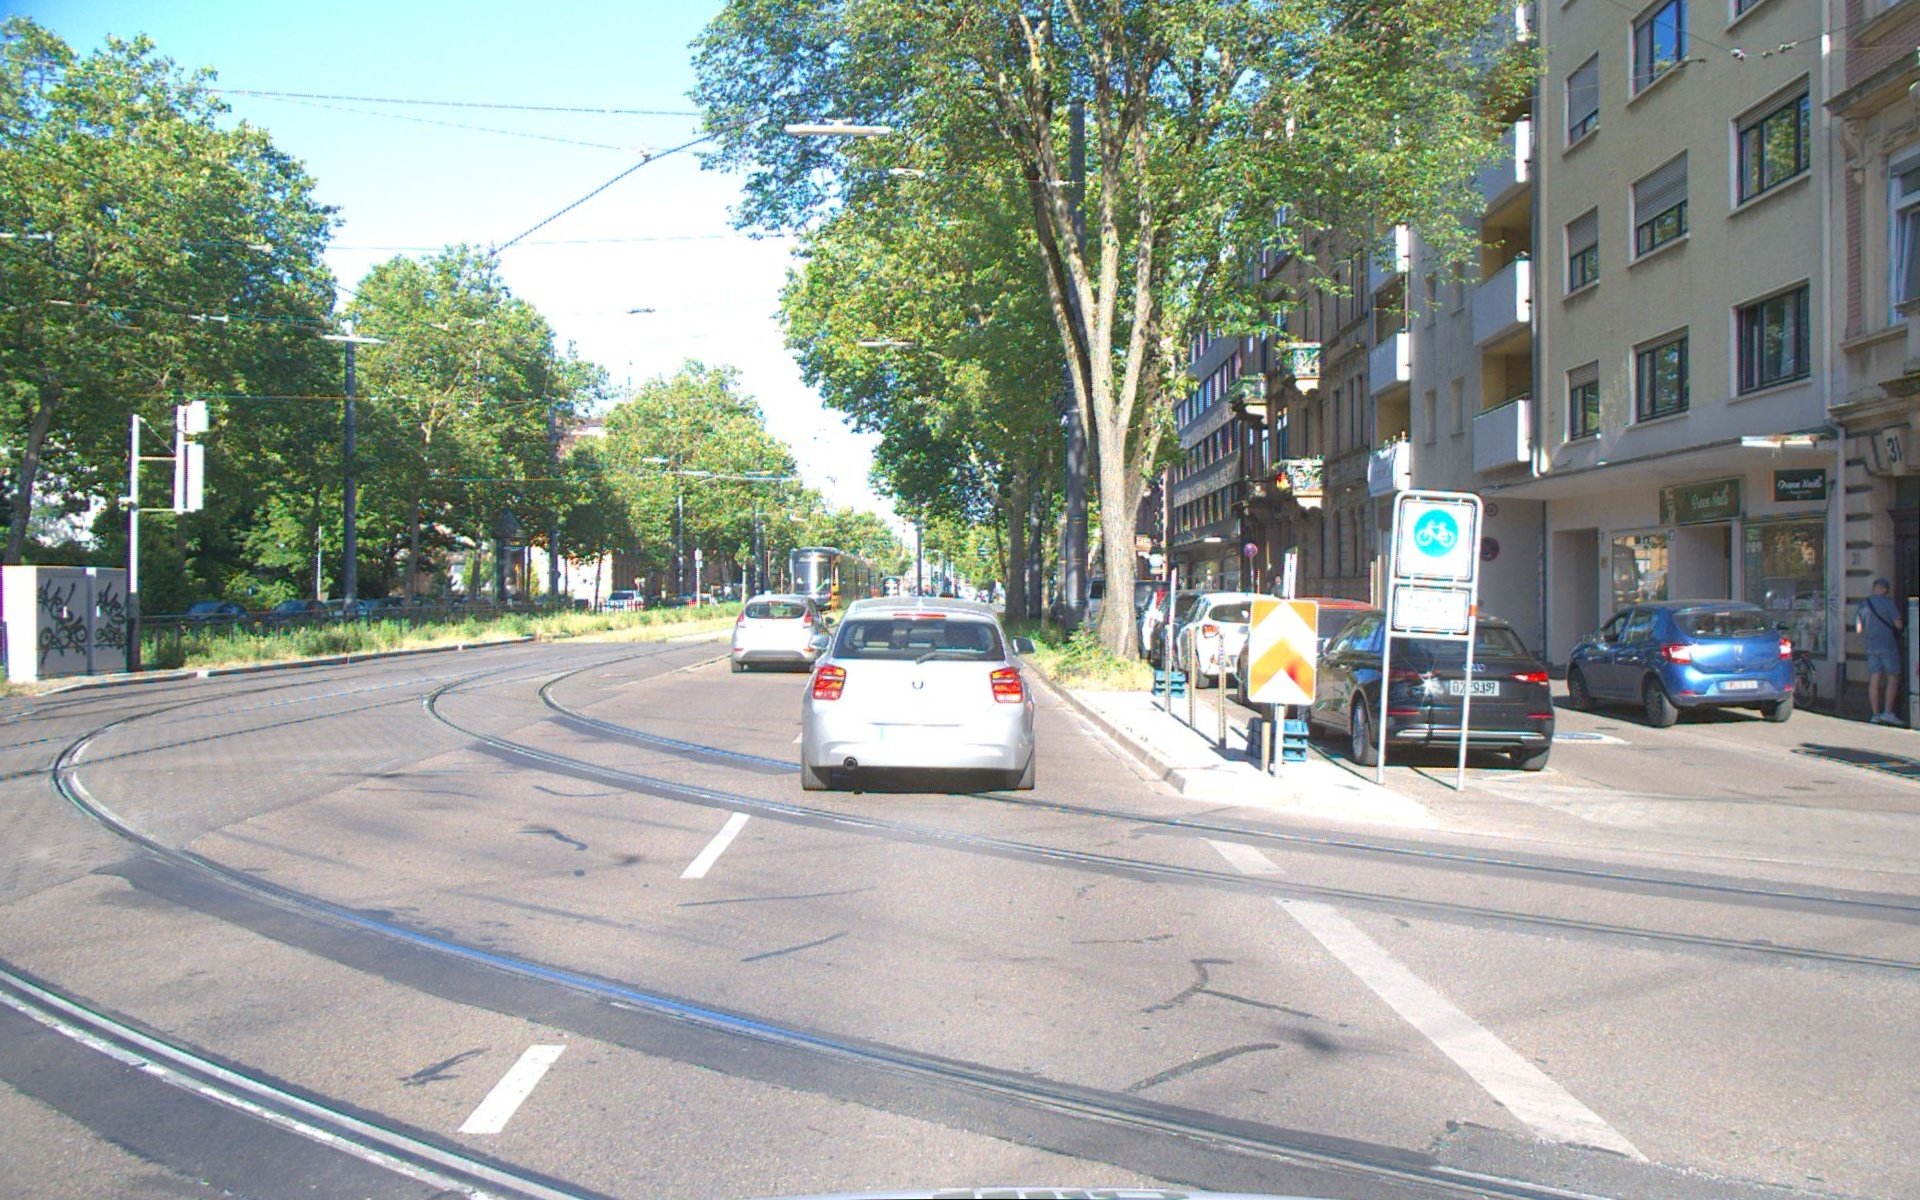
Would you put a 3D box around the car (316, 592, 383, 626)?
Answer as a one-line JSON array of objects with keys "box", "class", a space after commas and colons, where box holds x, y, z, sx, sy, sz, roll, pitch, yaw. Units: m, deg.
[{"box": [-26.576, 0.369, 72.131, 1.536, 1.335, 3.504, 2, 1, 1], "class": "car"}]

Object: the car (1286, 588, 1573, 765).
[{"box": [4.513, 0.650, 16.544, 1.662, 1.446, 4.170, 2, 1, 0], "class": "car"}]

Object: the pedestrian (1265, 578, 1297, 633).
[{"box": [11.050, 0.179, 56.979, 0.979, 1.872, 0.715, 0, 0, 2], "class": "pedestrian"}]

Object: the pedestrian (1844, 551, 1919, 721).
[{"box": [11.419, 0.430, 20.447, 0.501, 2.048, 0.853, 2, 1, 4], "class": "pedestrian"}]

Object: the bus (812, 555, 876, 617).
[{"box": [-6.851, -0.828, 99.440, 2.810, 3.504, 12.216, 0, 1, 1], "class": "bus"}]

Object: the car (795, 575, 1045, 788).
[{"box": [-0.275, 0.535, 13.457, 1.726, 1.457, 4.000, 0, 1, 0], "class": "car"}]

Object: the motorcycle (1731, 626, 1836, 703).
[{"box": [11.155, 0.856, 22.468, 0.476, 0.911, 1.873, -3, 1, 0], "class": "motorcycle"}]

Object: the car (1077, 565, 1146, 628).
[{"box": [4.781, -0.134, 52.754, 1.826, 1.847, 4.801, 2, 1, 2], "class": "car"}]

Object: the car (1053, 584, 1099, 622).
[{"box": [4.977, 0.130, 71.721, 1.768, 1.516, 4.921, 2, 0, 2], "class": "car"}]

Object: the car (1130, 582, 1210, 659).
[{"box": [4.526, 0.405, 35.989, 1.480, 1.506, 3.493, 2, 1, 4], "class": "car"}]

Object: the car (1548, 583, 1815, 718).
[{"box": [9.497, 0.588, 22.123, 1.659, 1.506, 3.999, -3, 1, -2], "class": "car"}]

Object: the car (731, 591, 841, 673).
[{"box": [-3.280, 0.567, 31.760, 1.613, 1.386, 3.760, 2, 1, 1], "class": "car"}]

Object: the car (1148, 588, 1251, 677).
[{"box": [4.526, 0.577, 31.626, 1.529, 1.511, 3.788, 2, 1, 2], "class": "car"}]

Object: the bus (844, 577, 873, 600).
[{"box": [-16.578, -1.970, 271.257, 2.810, 3.692, 24.607, 1, 1, 1], "class": "bus"}]

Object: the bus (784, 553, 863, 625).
[{"box": [-7.013, -0.609, 86.790, 2.810, 3.504, 13.219, 0, 1, 1], "class": "bus"}]

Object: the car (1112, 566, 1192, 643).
[{"box": [4.568, 0.066, 39.784, 1.591, 1.697, 4.143, 2, 1, 3], "class": "car"}]

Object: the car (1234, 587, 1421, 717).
[{"box": [4.696, 0.604, 21.638, 1.556, 1.459, 3.906, 2, 1, 0], "class": "car"}]

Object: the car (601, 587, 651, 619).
[{"box": [-18.774, 0.149, 93.111, 1.847, 1.647, 4.598, 2, 1, 0], "class": "car"}]

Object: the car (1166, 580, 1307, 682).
[{"box": [4.507, 0.459, 27.457, 1.593, 1.502, 3.697, 2, 1, -2], "class": "car"}]

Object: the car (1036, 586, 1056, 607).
[{"box": [8.659, -0.335, 166.730, 1.718, 1.999, 4.738, 1, 1, 0], "class": "car"}]

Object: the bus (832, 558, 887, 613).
[{"box": [-6.643, -0.986, 111.205, 2.810, 3.504, 11.612, 0, 1, 1], "class": "bus"}]
